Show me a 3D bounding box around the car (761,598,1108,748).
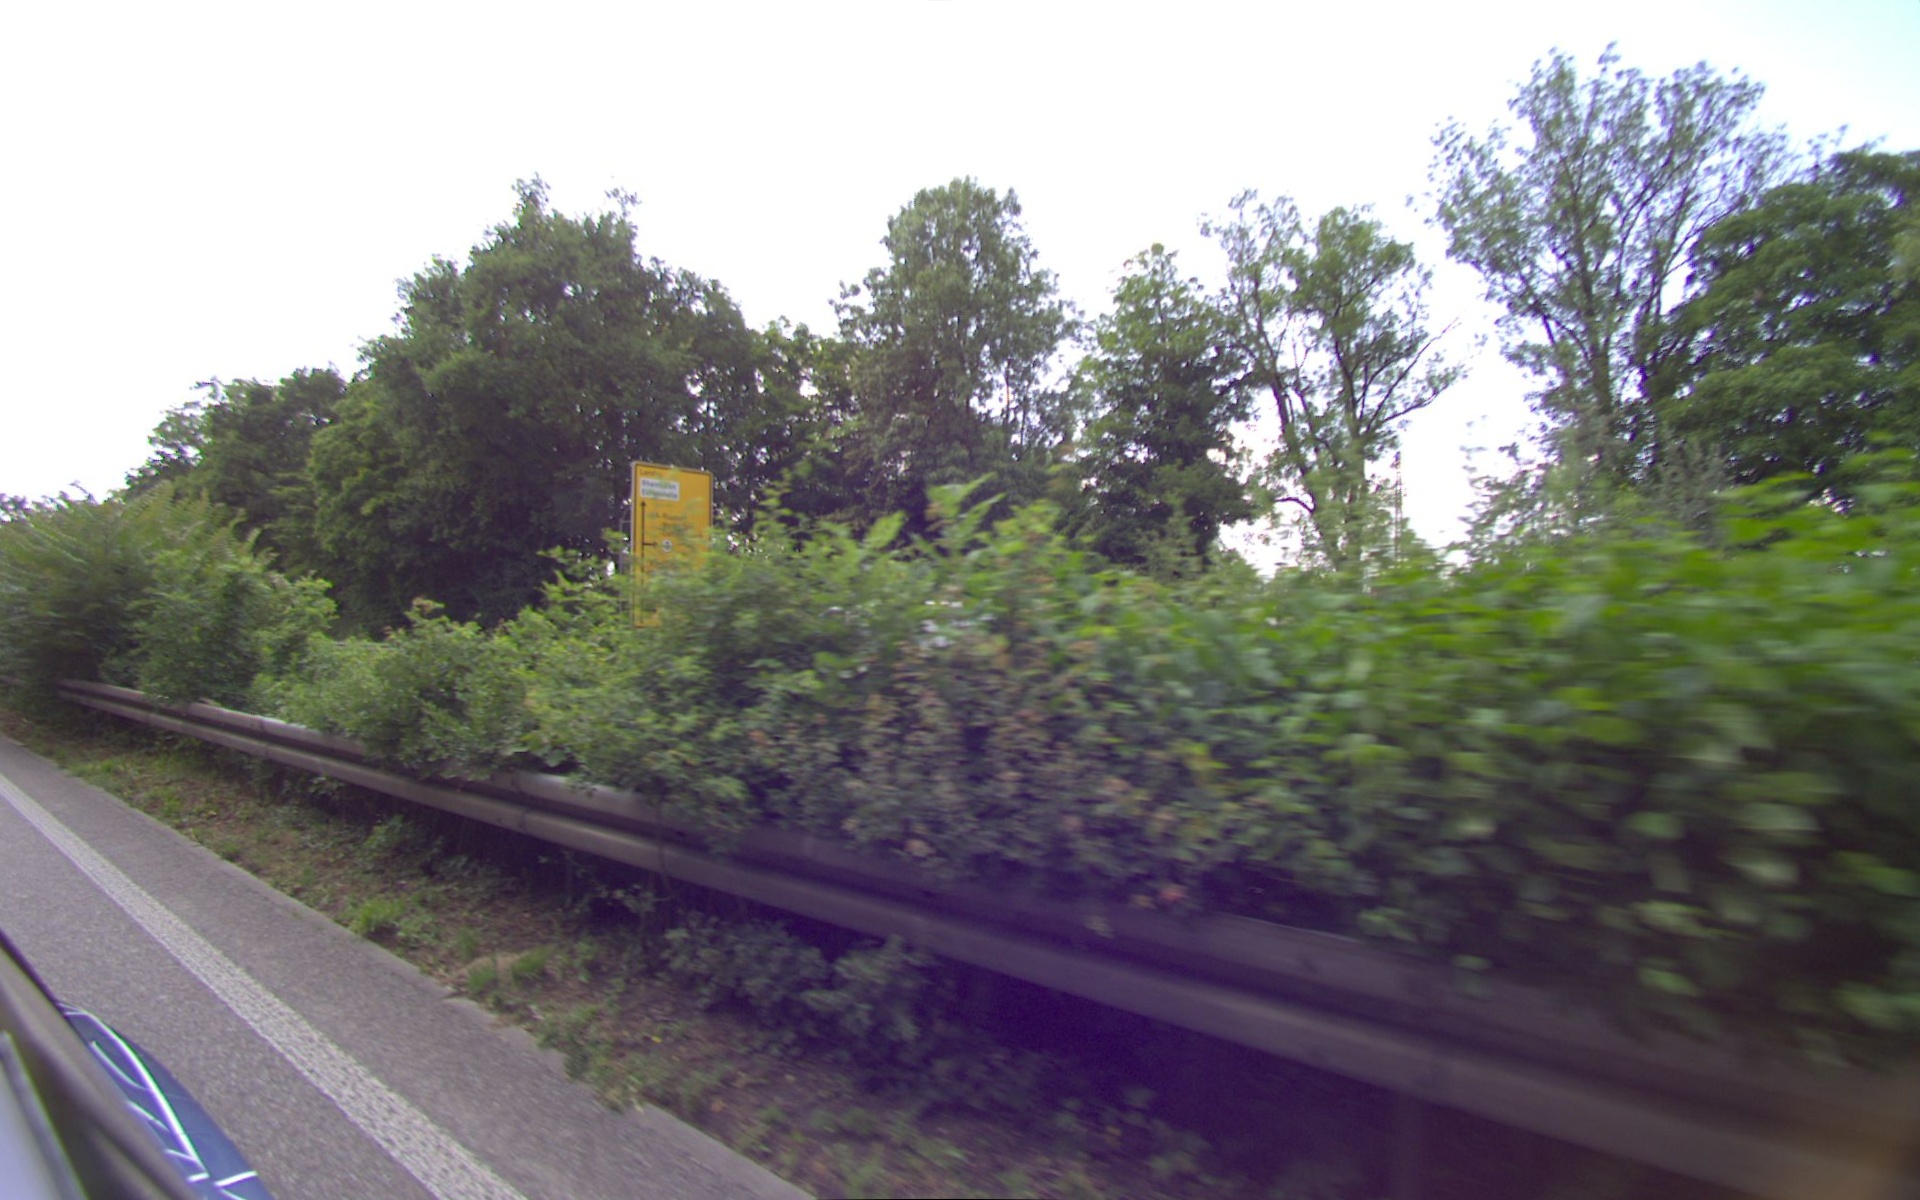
[{"bbox_3d":[-0.583,1.014,15.718,5.533,1.943,1.973,-2,-2,41],"label":"car"}]
